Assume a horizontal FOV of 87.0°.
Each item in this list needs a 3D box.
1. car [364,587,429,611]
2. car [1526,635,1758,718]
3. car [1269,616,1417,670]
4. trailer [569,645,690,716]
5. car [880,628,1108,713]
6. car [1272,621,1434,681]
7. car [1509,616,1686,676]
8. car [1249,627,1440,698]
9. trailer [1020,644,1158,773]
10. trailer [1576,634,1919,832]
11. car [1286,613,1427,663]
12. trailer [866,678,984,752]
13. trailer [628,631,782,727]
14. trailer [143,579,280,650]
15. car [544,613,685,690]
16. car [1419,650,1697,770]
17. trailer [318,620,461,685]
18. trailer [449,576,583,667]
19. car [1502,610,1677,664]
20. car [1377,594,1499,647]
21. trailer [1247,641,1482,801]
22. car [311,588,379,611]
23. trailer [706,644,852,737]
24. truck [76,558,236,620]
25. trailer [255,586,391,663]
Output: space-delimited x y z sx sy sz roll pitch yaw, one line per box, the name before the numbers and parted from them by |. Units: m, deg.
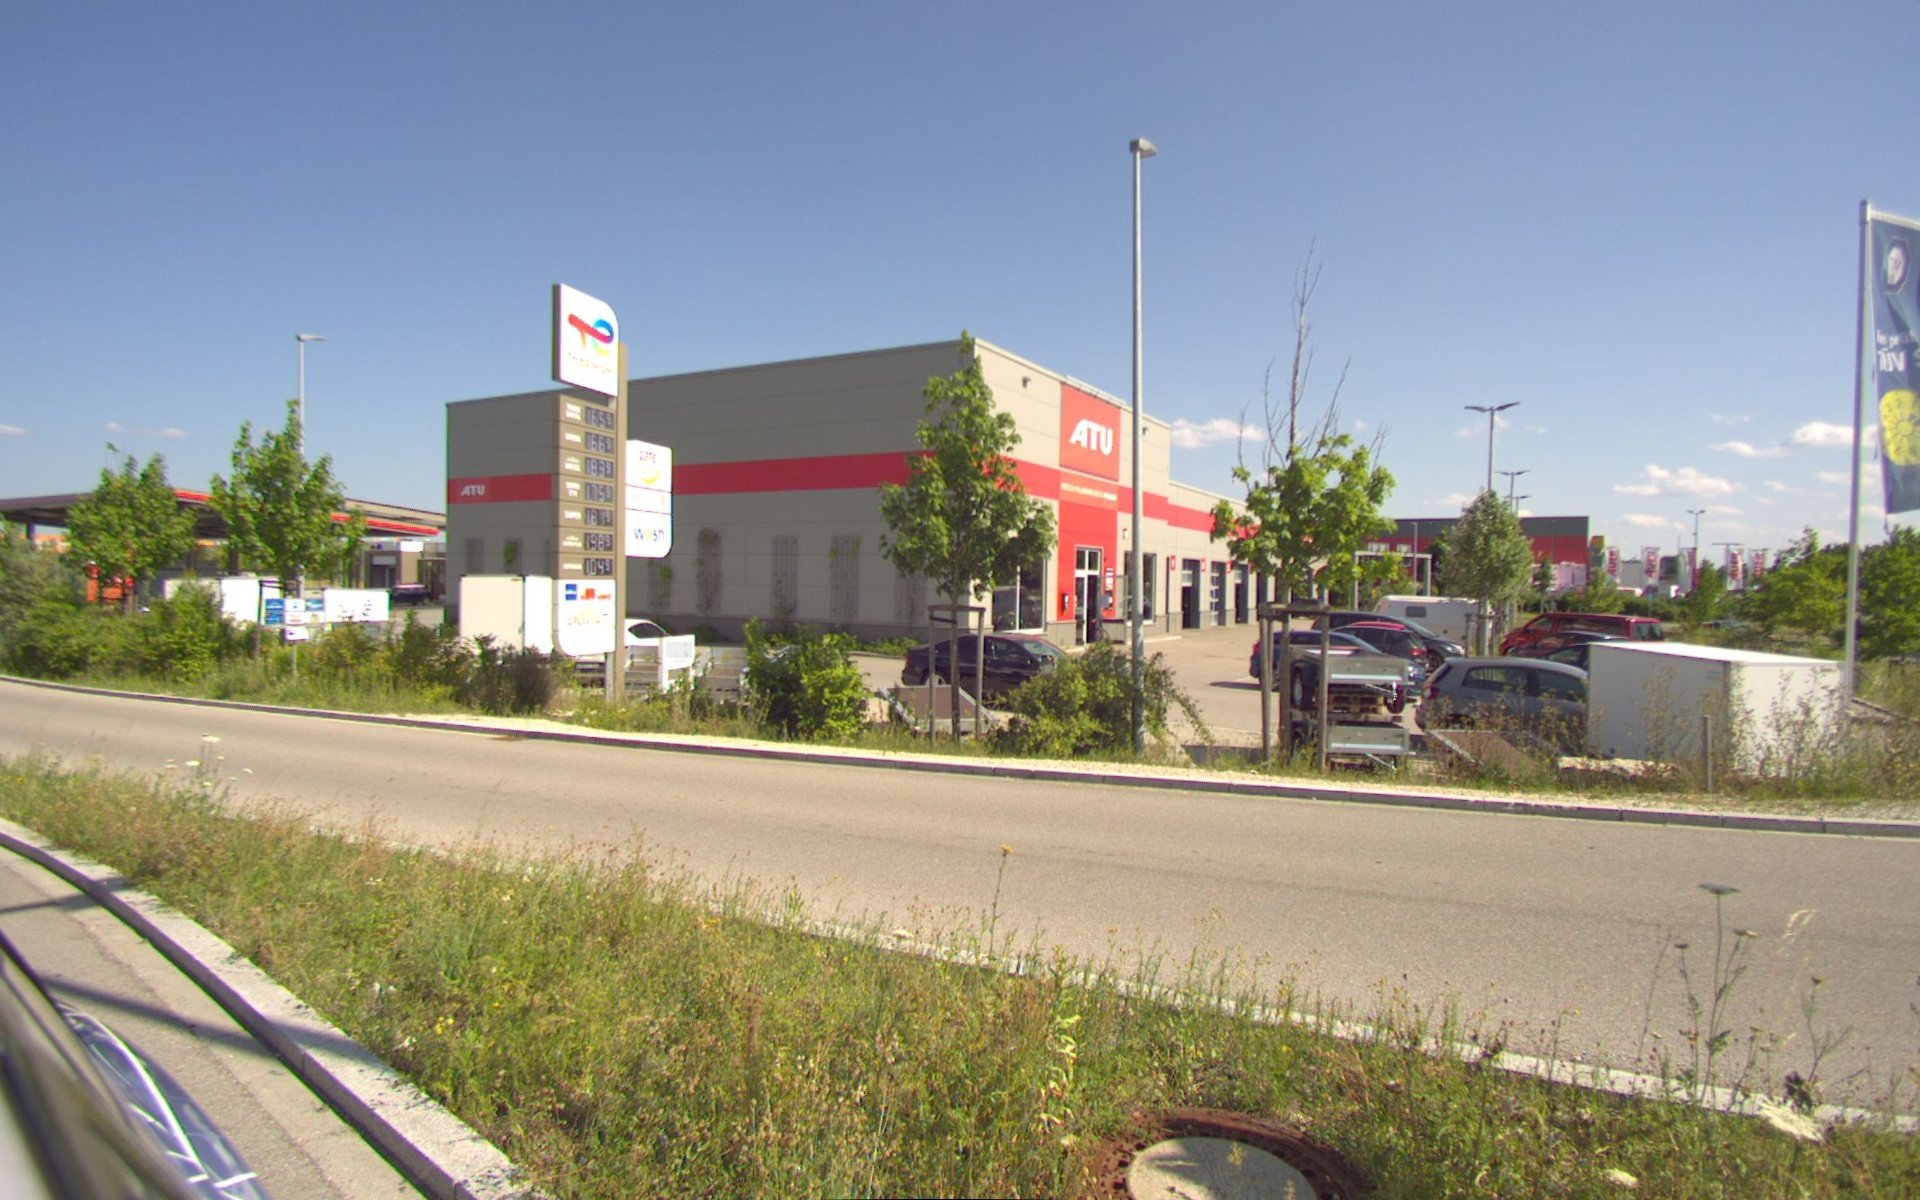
car | -39.688 -0.094 71.370 1.694 1.586 3.637 0 1 39
car | 15.525 1.679 23.291 1.794 1.475 4.014 2 1 -25
car | 11.773 1.274 31.201 3.990 1.475 1.804 0 1 34
trailer | -6.242 1.497 19.370 1.303 1.094 2.773 0 1 3
car | 0.650 1.373 20.963 4.486 1.495 1.783 0 0 34
car | 11.115 1.383 28.691 3.990 1.475 1.804 0 1 34
car | 18.334 1.274 29.309 1.794 1.475 4.013 -1 1 -25
car | 8.988 1.405 23.708 3.983 1.475 1.807 0 -2 29
trailer | 1.955 1.628 16.318 1.684 1.462 3.698 0 3 -1
trailer | 9.639 1.463 12.466 1.782 1.785 3.698 -1 2 -1
car | 12.864 1.189 32.869 3.990 1.475 1.804 0 1 34
trailer | -0.527 1.891 17.147 1.841 0.888 2.837 0 1 1
trailer | -4.639 1.388 18.842 1.533 1.495 3.179 0 1 12
trailer | -22.570 0.389 30.658 1.969 2.029 3.211 0 1 -6
car | -7.958 1.138 23.695 1.697 1.548 3.995 0 1 4
car | 9.626 1.694 16.523 3.731 1.563 1.725 0 1 32
trailer | -15.325 1.375 27.409 1.580 1.521 3.594 -1 1 6
trailer | -10.602 0.472 24.397 1.724 2.029 3.238 0 1 2
car | 19.951 1.122 32.298 1.794 1.475 4.470 -1 1 -25
car | 19.274 0.788 40.850 4.332 2.029 1.884 0 1 30
trailer | 5.534 1.573 14.376 1.782 1.785 3.697 0 1 -1
car | -45.120 -0.061 74.309 1.789 1.586 3.896 0 1 30
trailer | -3.121 1.536 17.947 1.378 1.332 2.895 0 1 17
truck | -46.423 -0.632 58.697 2.624 3.343 6.854 0 1 22
trailer | -17.782 0.644 28.386 1.975 2.029 2.732 0 1 6
